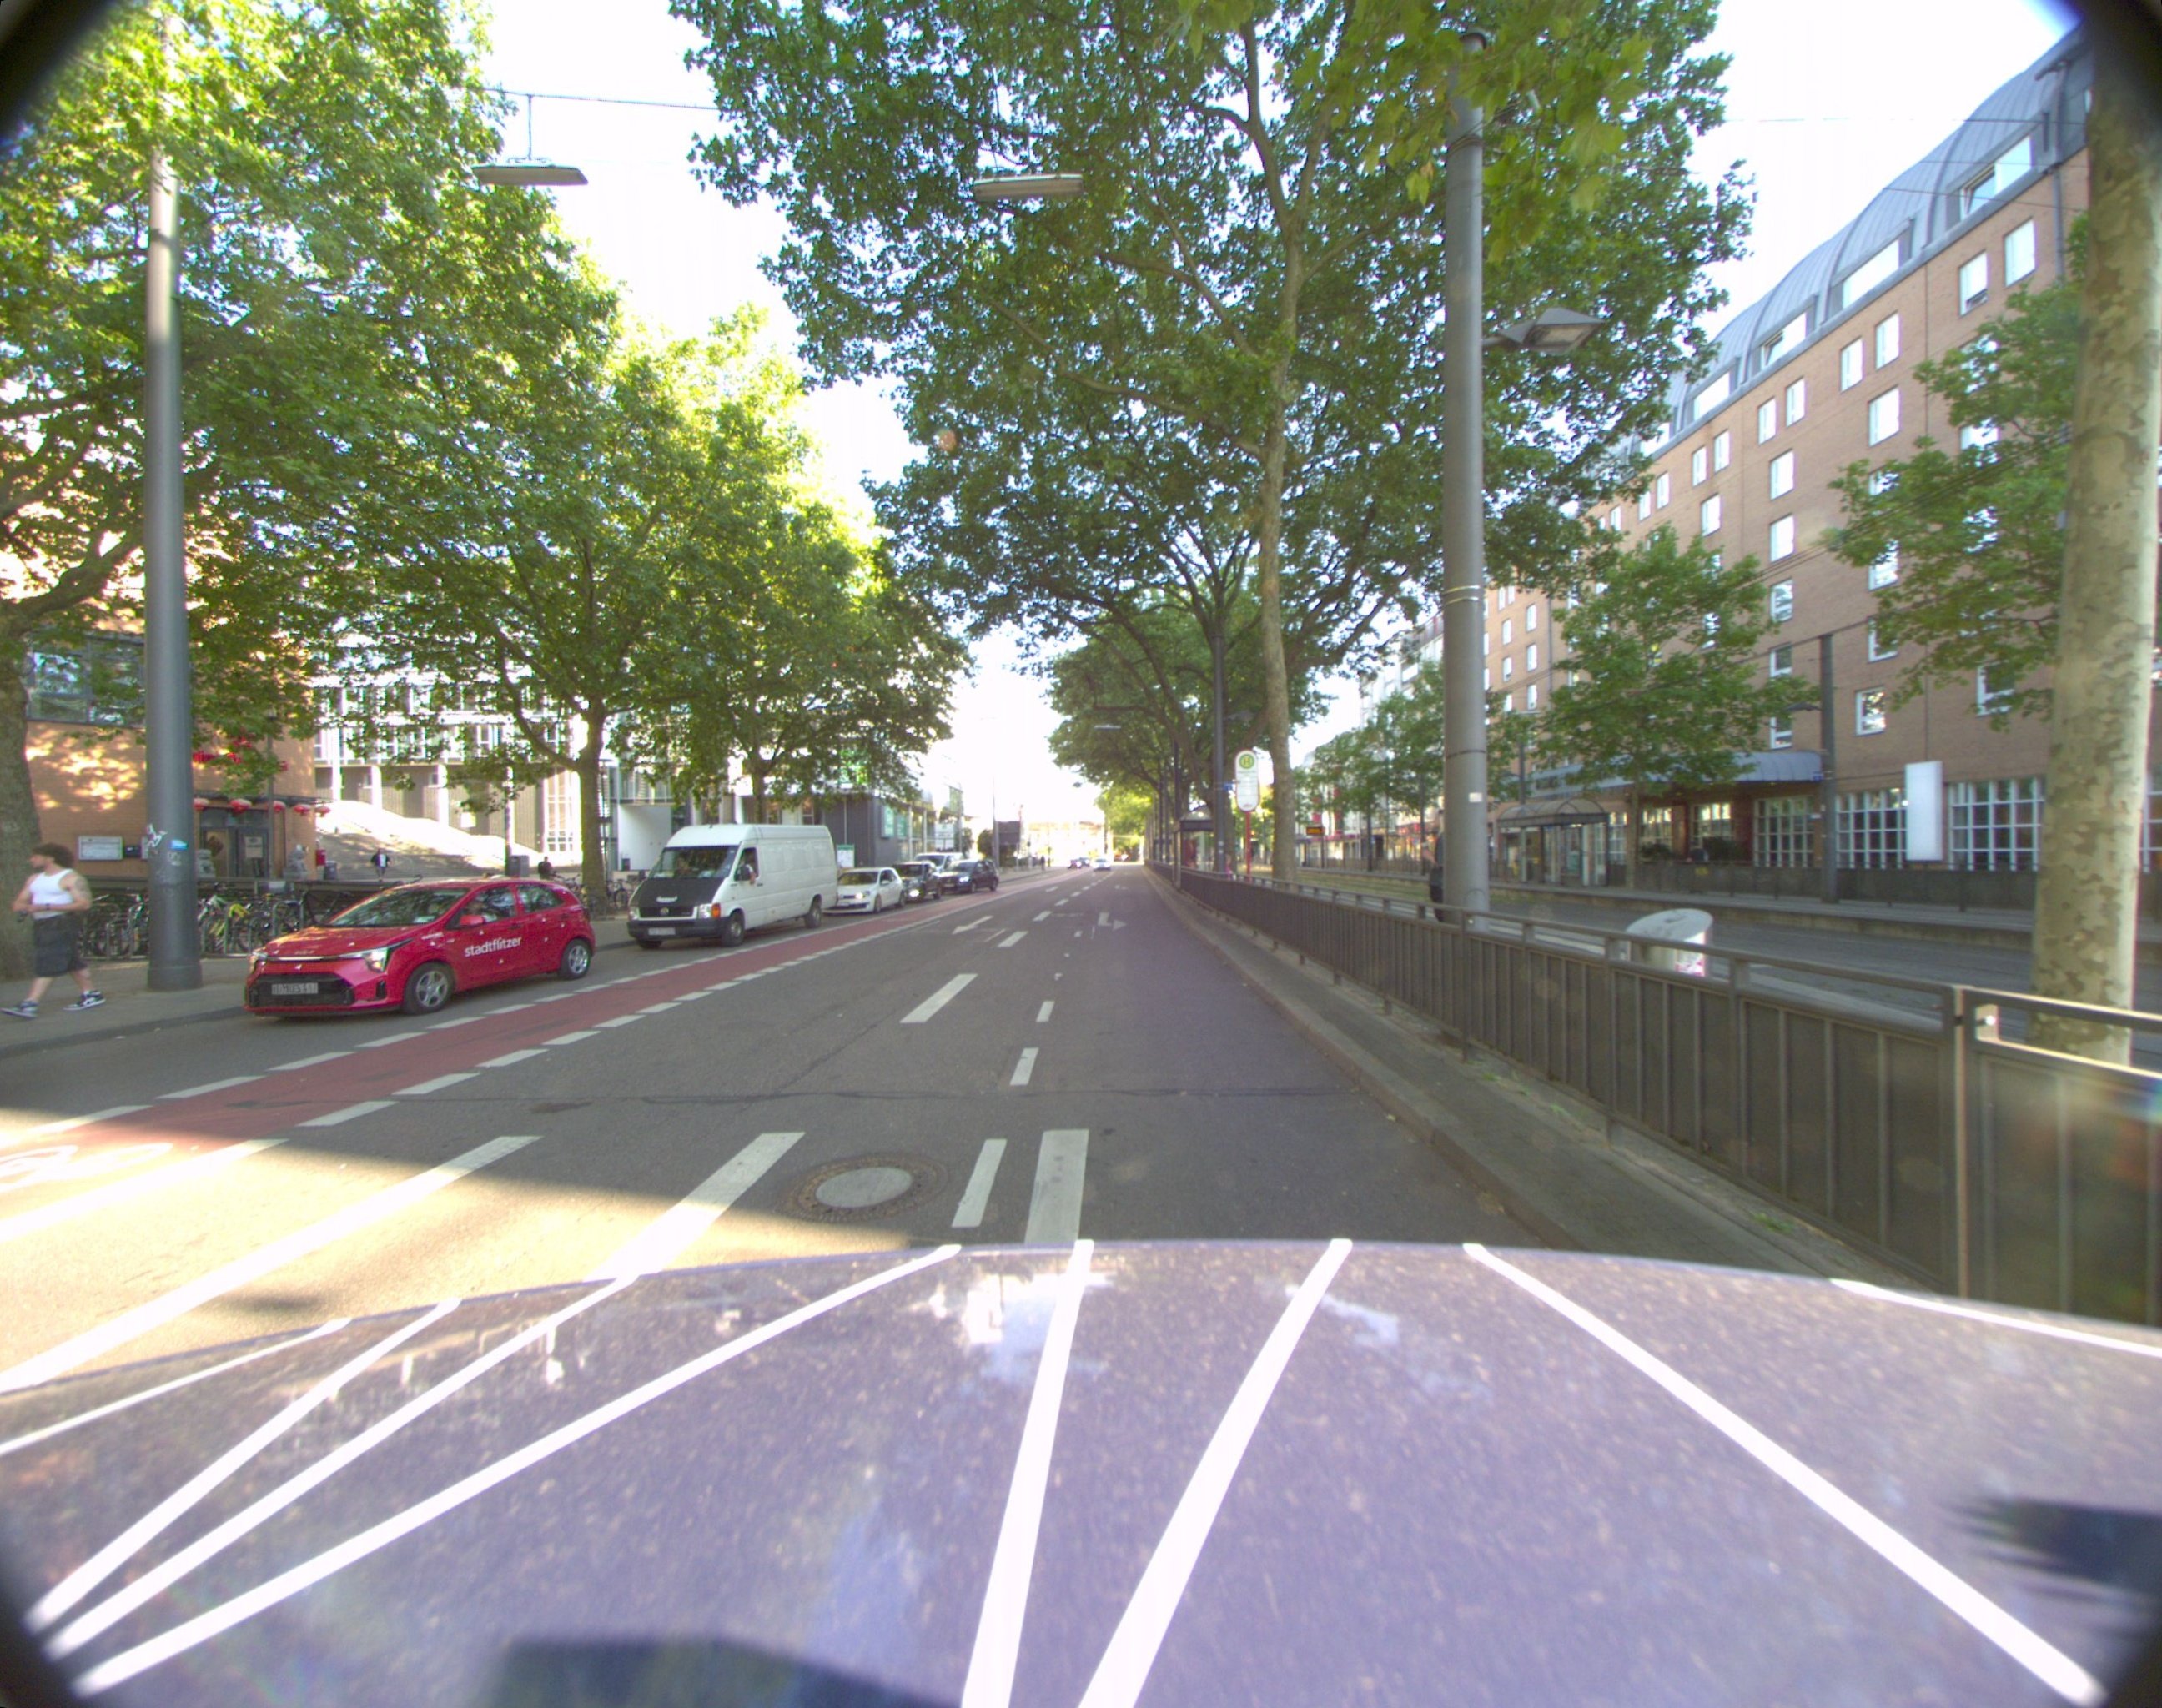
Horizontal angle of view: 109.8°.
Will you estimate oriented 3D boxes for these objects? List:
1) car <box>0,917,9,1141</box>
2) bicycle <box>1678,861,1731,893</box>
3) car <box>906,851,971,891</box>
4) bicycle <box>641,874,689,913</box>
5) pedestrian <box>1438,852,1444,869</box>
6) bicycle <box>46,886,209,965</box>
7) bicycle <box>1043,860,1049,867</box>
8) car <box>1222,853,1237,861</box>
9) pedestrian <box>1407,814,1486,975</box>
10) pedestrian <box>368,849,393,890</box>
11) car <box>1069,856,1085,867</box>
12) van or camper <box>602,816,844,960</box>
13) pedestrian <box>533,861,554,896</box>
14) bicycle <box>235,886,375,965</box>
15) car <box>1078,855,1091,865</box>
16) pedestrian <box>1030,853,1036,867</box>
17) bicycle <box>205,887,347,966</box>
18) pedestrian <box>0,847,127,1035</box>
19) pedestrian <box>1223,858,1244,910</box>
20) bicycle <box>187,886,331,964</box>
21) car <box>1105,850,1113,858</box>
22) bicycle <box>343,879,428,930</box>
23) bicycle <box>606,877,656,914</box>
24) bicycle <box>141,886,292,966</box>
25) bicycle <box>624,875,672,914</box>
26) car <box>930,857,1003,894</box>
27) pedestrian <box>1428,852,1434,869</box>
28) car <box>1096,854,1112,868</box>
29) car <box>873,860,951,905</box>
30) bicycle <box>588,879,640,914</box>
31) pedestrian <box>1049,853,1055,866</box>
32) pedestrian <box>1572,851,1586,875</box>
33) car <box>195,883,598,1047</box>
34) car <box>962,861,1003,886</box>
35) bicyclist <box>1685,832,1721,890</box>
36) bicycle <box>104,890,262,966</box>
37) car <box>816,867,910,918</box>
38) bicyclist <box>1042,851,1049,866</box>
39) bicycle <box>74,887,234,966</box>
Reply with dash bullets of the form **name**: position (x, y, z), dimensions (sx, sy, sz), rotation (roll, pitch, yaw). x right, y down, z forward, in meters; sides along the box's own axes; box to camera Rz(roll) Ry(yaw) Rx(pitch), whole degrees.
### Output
- **car**: position (-8.009, 1.167, 2.910), dimensions (1.743, 1.476, 4.251), rotation (-1, 0, 0)
- **bicycle**: position (20.688, 0.748, 25.246), dimensions (0.451, 0.998, 1.753), rotation (-1, 0, 6)
- **car**: position (-7.477, 0.857, 40.469), dimensions (1.965, 1.983, 4.960), rotation (-1, 0, 7)
- **bicycle**: position (-13.569, 1.265, 24.838), dimensions (0.522, 1.187, 1.850), rotation (0, 0, 1)
- **pedestrian**: position (31.242, 0.578, 65.874), dimensions (0.438, 1.511, 0.659), rotation (0, 1, 23)
- **bicycle**: position (-16.385, 1.195, 13.135), dimensions (0.435, 1.187, 1.850), rotation (0, 0, 1)
- **bicycle**: position (-4.022, 1.086, 87.335), dimensions (0.580, 0.879, 1.671), rotation (-1, 0, 1)
- **car**: position (26.886, 0.545, 137.395), dimensions (1.998, 1.510, 4.000), rotation (-1, 0, 2)
- **pedestrian**: position (4.453, 0.466, 9.283), dimensions (0.607, 1.873, 0.622), rotation (-2, 3, -14)
- **pedestrian**: position (-35.067, 0.766, 38.040), dimensions (0.878, 2.025, 0.584), rotation (-1, 1, -43)
- **car**: position (-0.502, 1.030, 101.598), dimensions (1.801, 1.369, 4.001), rotation (0, 0, 3)
- **van or camper**: position (-7.531, 0.617, 17.073), dimensions (1.998, 2.563, 6.575), rotation (-2, 0, 3)
- **pedestrian**: position (-23.983, 1.077, 33.905), dimensions (0.719, 1.549, 0.639), rotation (-1, 1, -35)
- **bicycle**: position (-13.316, 1.191, 13.125), dimensions (0.482, 1.187, 1.850), rotation (0, 0, 1)
- **car**: position (0.571, 0.952, 120.784), dimensions (1.801, 1.438, 4.001), rotation (0, 0, 3)
- **pedestrian**: position (-5.678, 0.758, 89.419), dimensions (0.611, 1.644, 0.583), rotation (-1, 1, 1)
- **bicycle**: position (-13.819, 1.201, 13.131), dimensions (0.448, 1.187, 1.850), rotation (0, 0, 1)
- **pedestrian**: position (-10.744, 0.866, 7.870), dimensions (0.644, 1.834, 0.813), rotation (3, 0, -13)
- **pedestrian**: position (3.934, 0.771, 19.619), dimensions (0.500, 1.308, 0.419), rotation (0, 1, 9)
- **bicycle**: position (-14.324, 1.197, 13.321), dimensions (0.484, 1.187, 1.850), rotation (0, 0, 1)
- **car**: position (7.687, 0.039, 206.308), dimensions (1.998, 2.002, 4.001), rotation (0, 0, 4)
- **bicycle**: position (-17.881, 1.284, 19.589), dimensions (0.517, 1.187, 1.790), rotation (0, 0, 1)
- **bicycle**: position (-14.656, 1.328, 24.815), dimensions (0.522, 1.088, 1.797), rotation (0, 0, 1)
- **bicycle**: position (-14.841, 1.197, 13.121), dimensions (0.447, 1.187, 1.850), rotation (0, 0, 1)
- **bicycle**: position (-14.112, 1.295, 24.817), dimensions (0.495, 1.187, 1.850), rotation (0, 0, 1)
- **car**: position (-5.505, 1.010, 37.058), dimensions (1.964, 1.610, 4.335), rotation (-1, 0, 14)
- **pedestrian**: position (30.503, 0.584, 66.143), dimensions (0.438, 1.497, 0.659), rotation (0, 1, 23)
- **car**: position (2.584, 0.739, 84.630), dimensions (1.733, 1.432, 4.000), rotation (-2, 0, 2)
- **car**: position (-6.712, 1.079, 30.592), dimensions (1.818, 1.610, 4.229), rotation (-1, 0, 5)
- **bicycle**: position (-15.217, 1.362, 24.791), dimensions (0.516, 1.027, 1.850), rotation (0, 0, 1)
- **pedestrian**: position (-3.992, 0.744, 103.636), dimensions (0.676, 1.853, 0.741), rotation (-2, 1, 1)
- **pedestrian**: position (29.176, 0.534, 44.542), dimensions (0.519, 1.427, 0.516), rotation (-1, 1, 4)
- **car**: position (-7.949, 1.174, 9.362), dimensions (1.606, 1.449, 3.651), rotation (-1, 0, 0)
- **car**: position (-6.019, 1.170, 46.838), dimensions (1.801, 1.369, 4.001), rotation (0, 0, 3)
- **bicyclist**: position (20.601, 0.224, 25.191), dimensions (0.572, 1.893, 0.813), rotation (-1, 1, 6)
- **bicycle**: position (-15.424, 1.234, 13.130), dimensions (0.485, 1.118, 1.850), rotation (0, 0, 1)
- **car**: position (-7.007, 1.183, 24.825), dimensions (1.682, 1.420, 4.001), rotation (-1, 0, 3)
- **bicyclist**: position (-4.069, 0.567, 87.318), dimensions (0.673, 1.707, 0.715), rotation (-1, 1, 1)
- **bicycle**: position (-15.922, 1.201, 13.132), dimensions (0.458, 1.187, 1.850), rotation (0, 0, 1)
